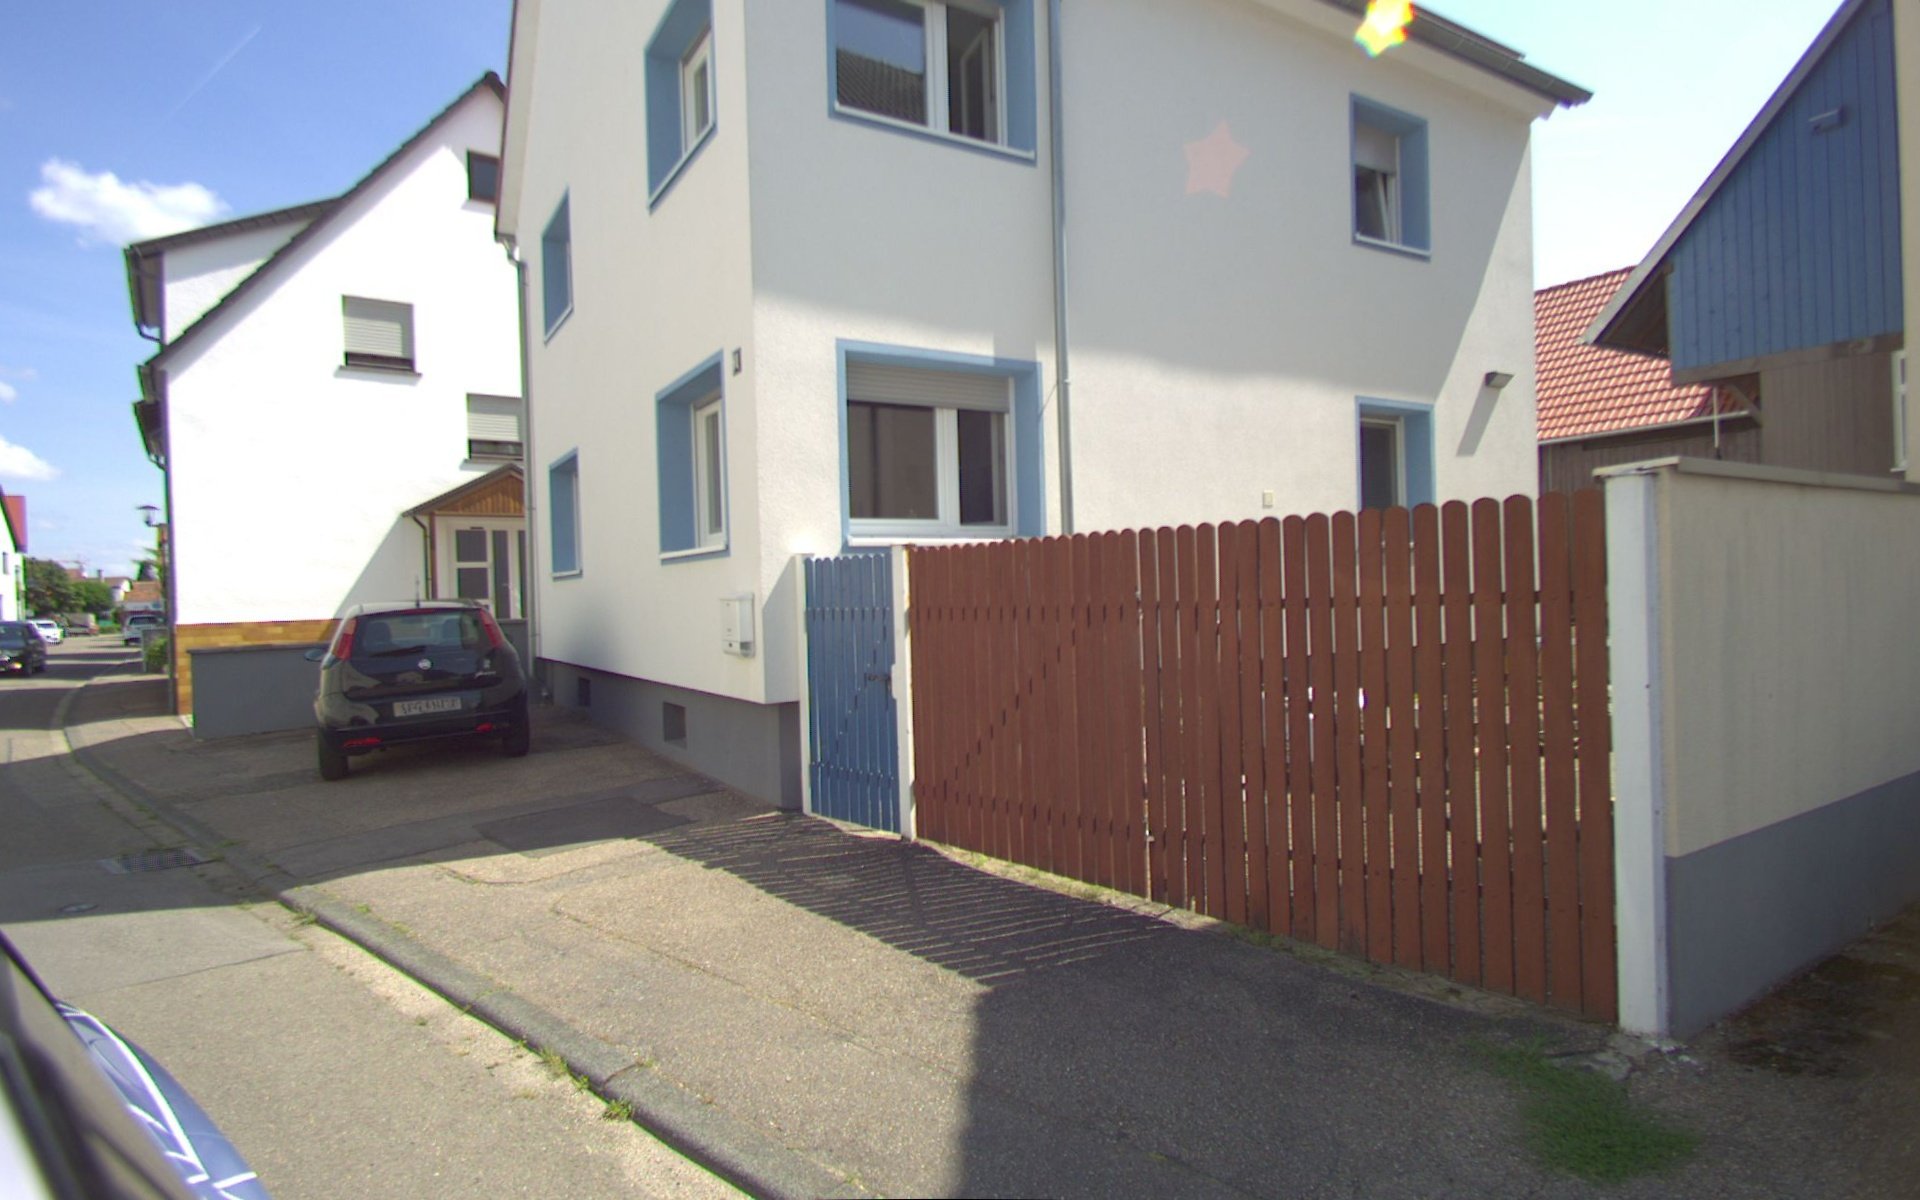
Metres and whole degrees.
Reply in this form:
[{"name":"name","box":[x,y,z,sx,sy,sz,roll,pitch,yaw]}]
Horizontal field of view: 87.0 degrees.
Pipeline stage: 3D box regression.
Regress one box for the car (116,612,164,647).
[{"name":"car","box":[-43.744,1.537,54.037,1.758,1.621,4.008,-6,3,-38]}]

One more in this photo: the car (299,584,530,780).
[{"name":"car","box":[-5.427,0.656,9.966,1.615,1.466,3.798,-3,1,-31]}]

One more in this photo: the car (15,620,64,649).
[{"name":"car","box":[-55.809,2.050,61.406,1.758,1.511,4.047,-6,3,-38]}]

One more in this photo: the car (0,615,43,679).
[{"name":"car","box":[-25.512,1.209,26.536,1.757,1.547,4.720,-2,1,-38]}]
